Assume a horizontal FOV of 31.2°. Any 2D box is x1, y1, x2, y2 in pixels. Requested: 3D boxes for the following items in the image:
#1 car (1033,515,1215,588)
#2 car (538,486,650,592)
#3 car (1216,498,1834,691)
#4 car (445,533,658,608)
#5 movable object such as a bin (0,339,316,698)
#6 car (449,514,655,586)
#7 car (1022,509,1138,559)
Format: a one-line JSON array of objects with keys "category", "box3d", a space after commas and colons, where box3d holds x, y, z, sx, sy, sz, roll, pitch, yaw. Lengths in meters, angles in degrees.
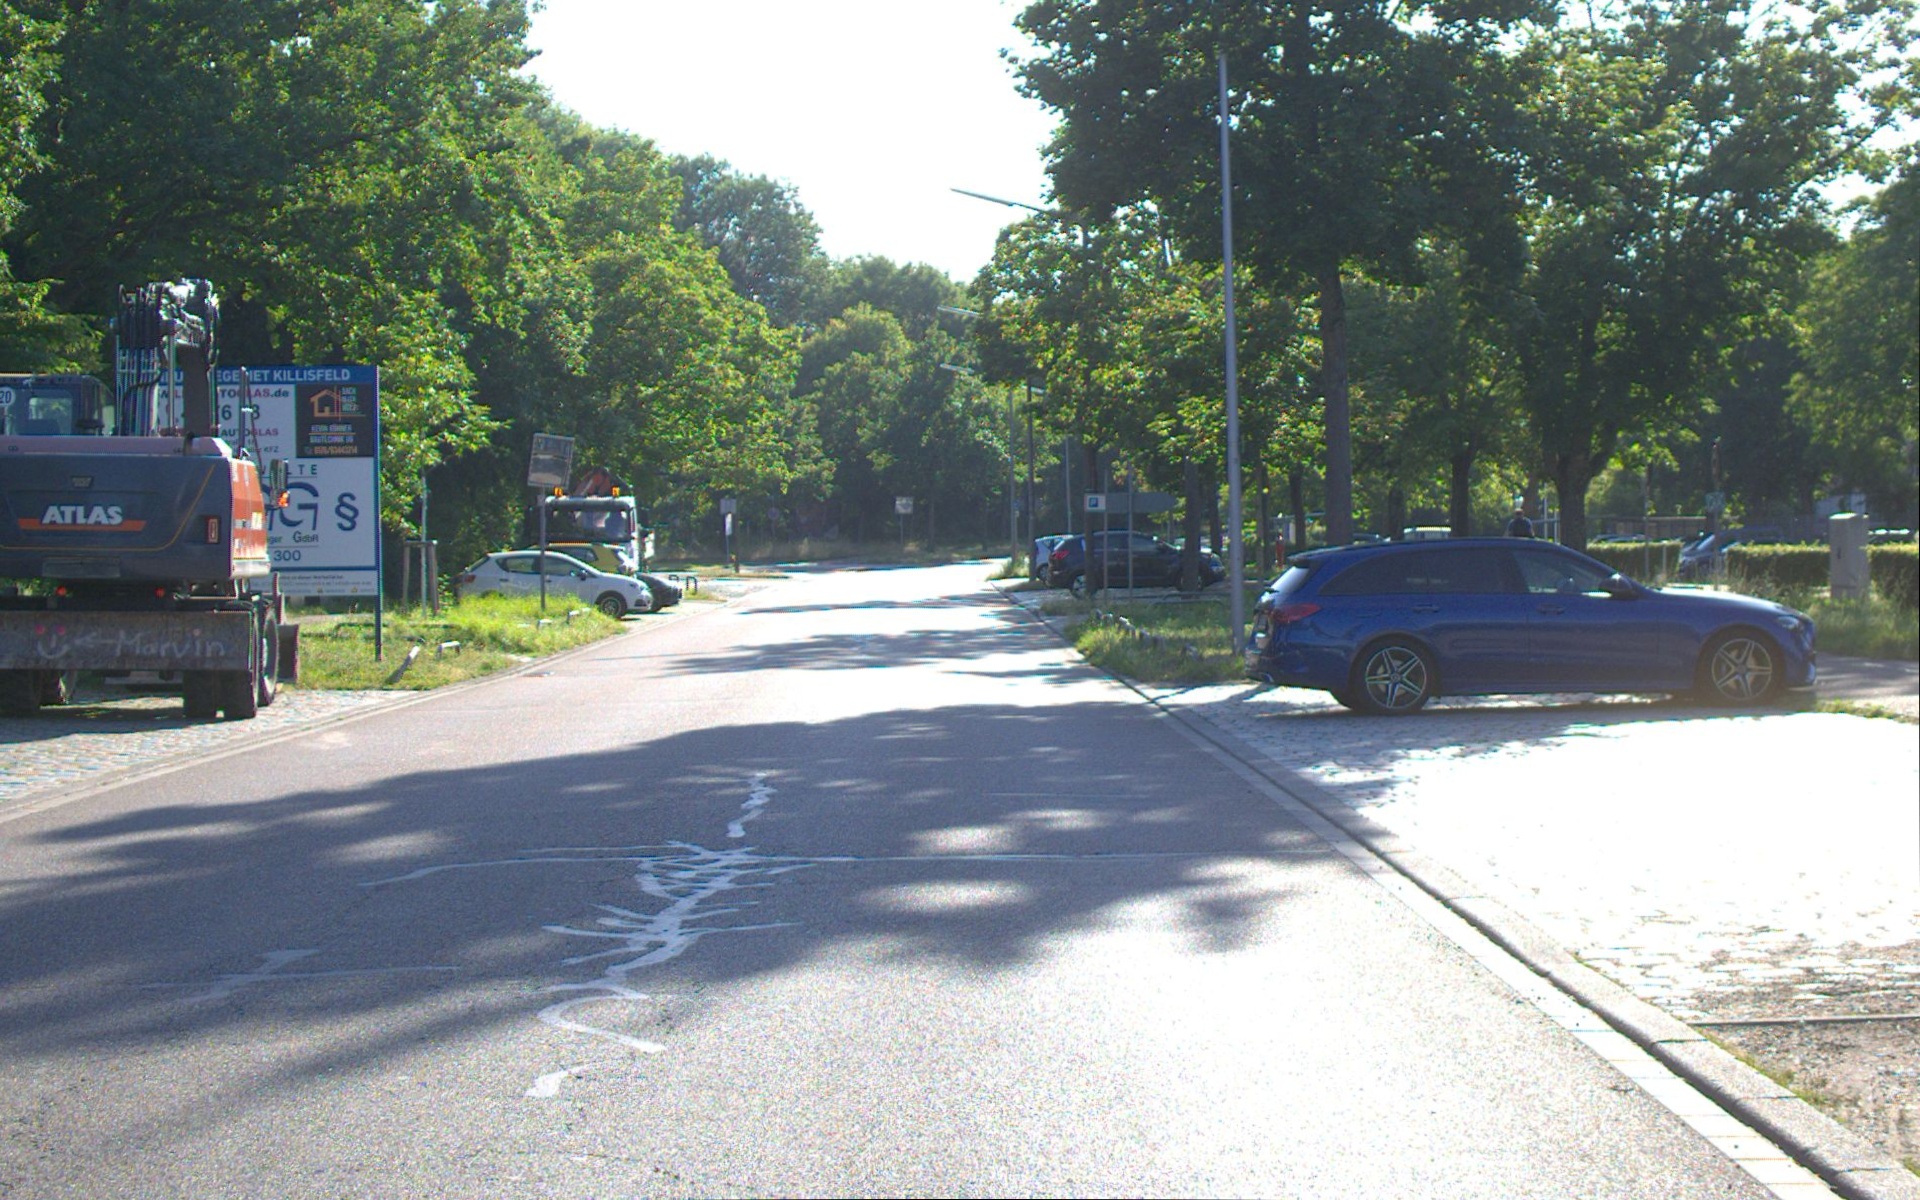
[{"category": "car", "box3d": [4.043, -1.215, 85.481, 4.358, 1.723, 2.000, 1, 1, -1]}, {"category": "car", "box3d": [-8.728, -1.479, 81.630, 2.516, 2.377, 4.374, 1, 2, -7]}, {"category": "car", "box3d": [4.646, -0.072, 28.829, 4.841, 1.474, 2.000, -1, 2, 1]}, {"category": "car", "box3d": [-8.581, -0.634, 72.280, 4.357, 1.474, 2.001, -1, 1, -7]}, {"category": "movable object such as a bin", "box3d": [-7.730, -0.761, 32.098, 2.838, 3.058, 4.928, -1, 1, -5]}, {"category": "car", "box3d": [-8.883, -1.109, 74.905, 4.357, 1.474, 2.001, -1, 1, -7]}, {"category": "car", "box3d": [4.247, -2.340, 121.774, 3.987, 1.674, 2.000, -1, 1, -1]}]
